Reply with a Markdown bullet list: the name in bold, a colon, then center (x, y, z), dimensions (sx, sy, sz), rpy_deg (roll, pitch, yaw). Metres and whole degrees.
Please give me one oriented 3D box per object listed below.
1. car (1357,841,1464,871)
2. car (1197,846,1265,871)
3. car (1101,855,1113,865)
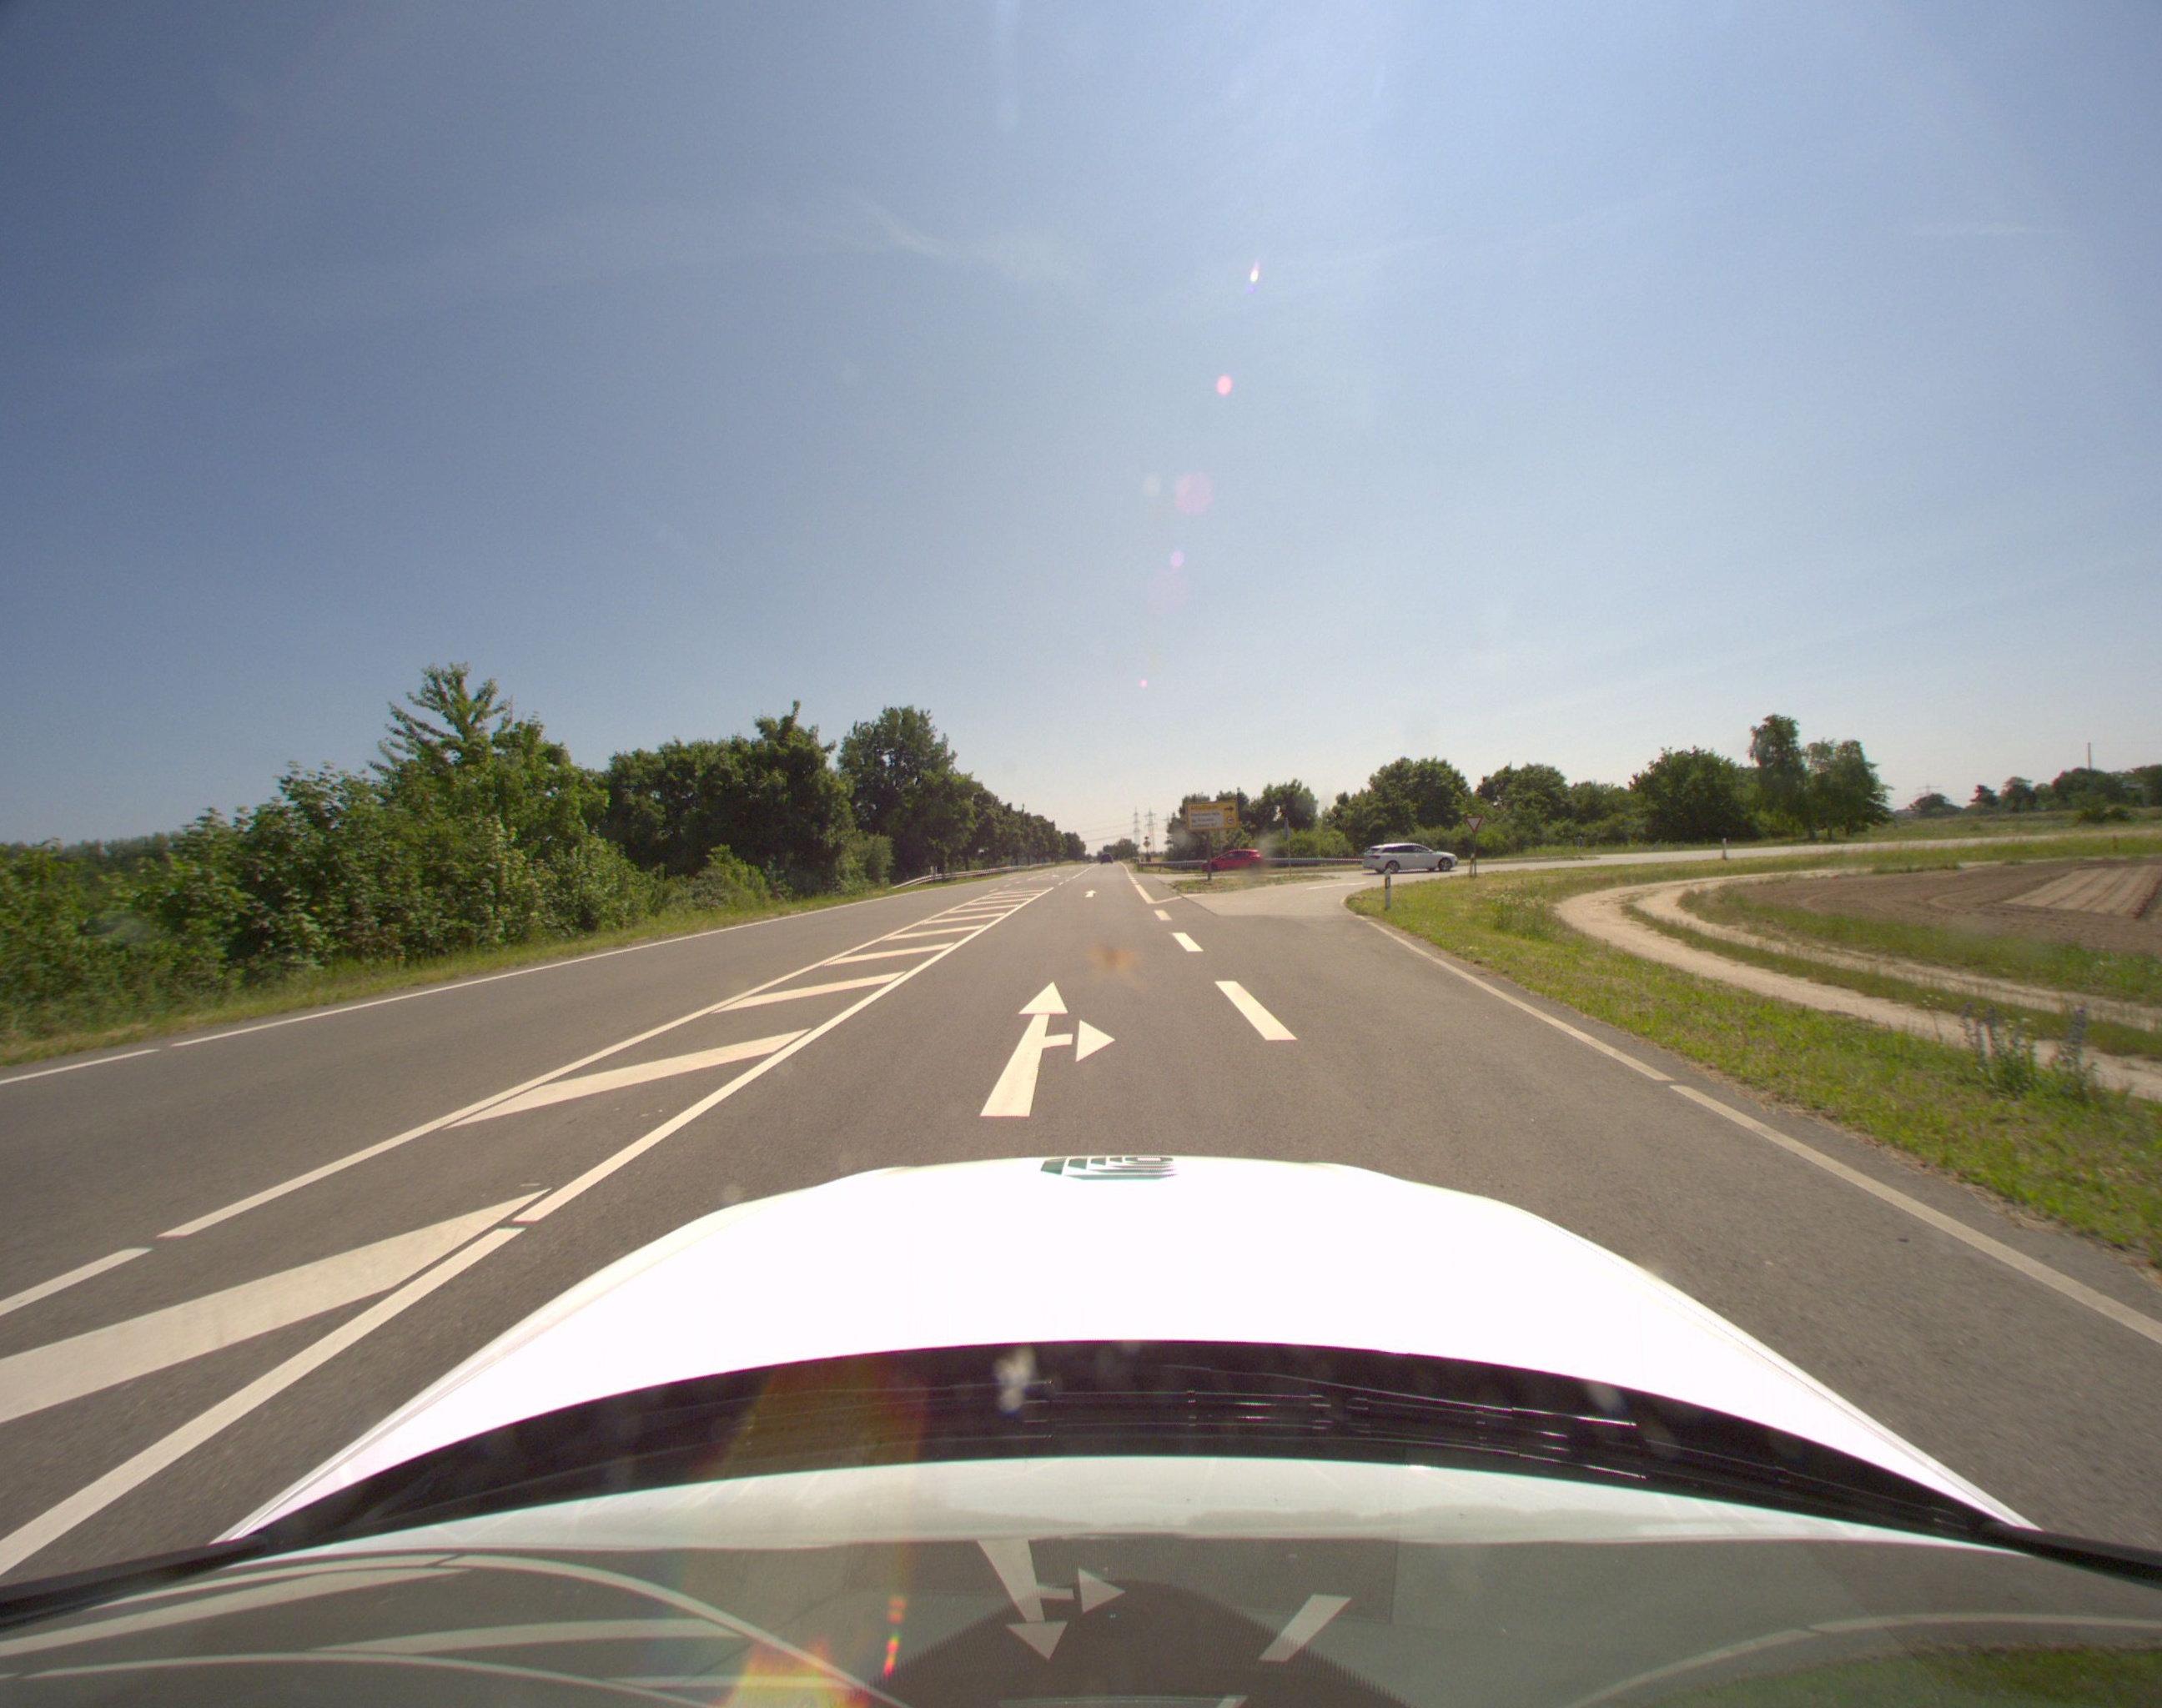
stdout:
- **car**: center (16.625, 0.106, 41.232), dimensions (4.683, 1.418, 1.842), rpy_deg (-1, -1, 1)
- **car**: center (9.612, 0.299, 52.161), dimensions (4.122, 1.418, 1.787), rpy_deg (-2, -1, 15)
- **car**: center (4.073, 0.954, 128.001), dimensions (1.878, 1.518, 4.039), rpy_deg (-1, 0, 0)
